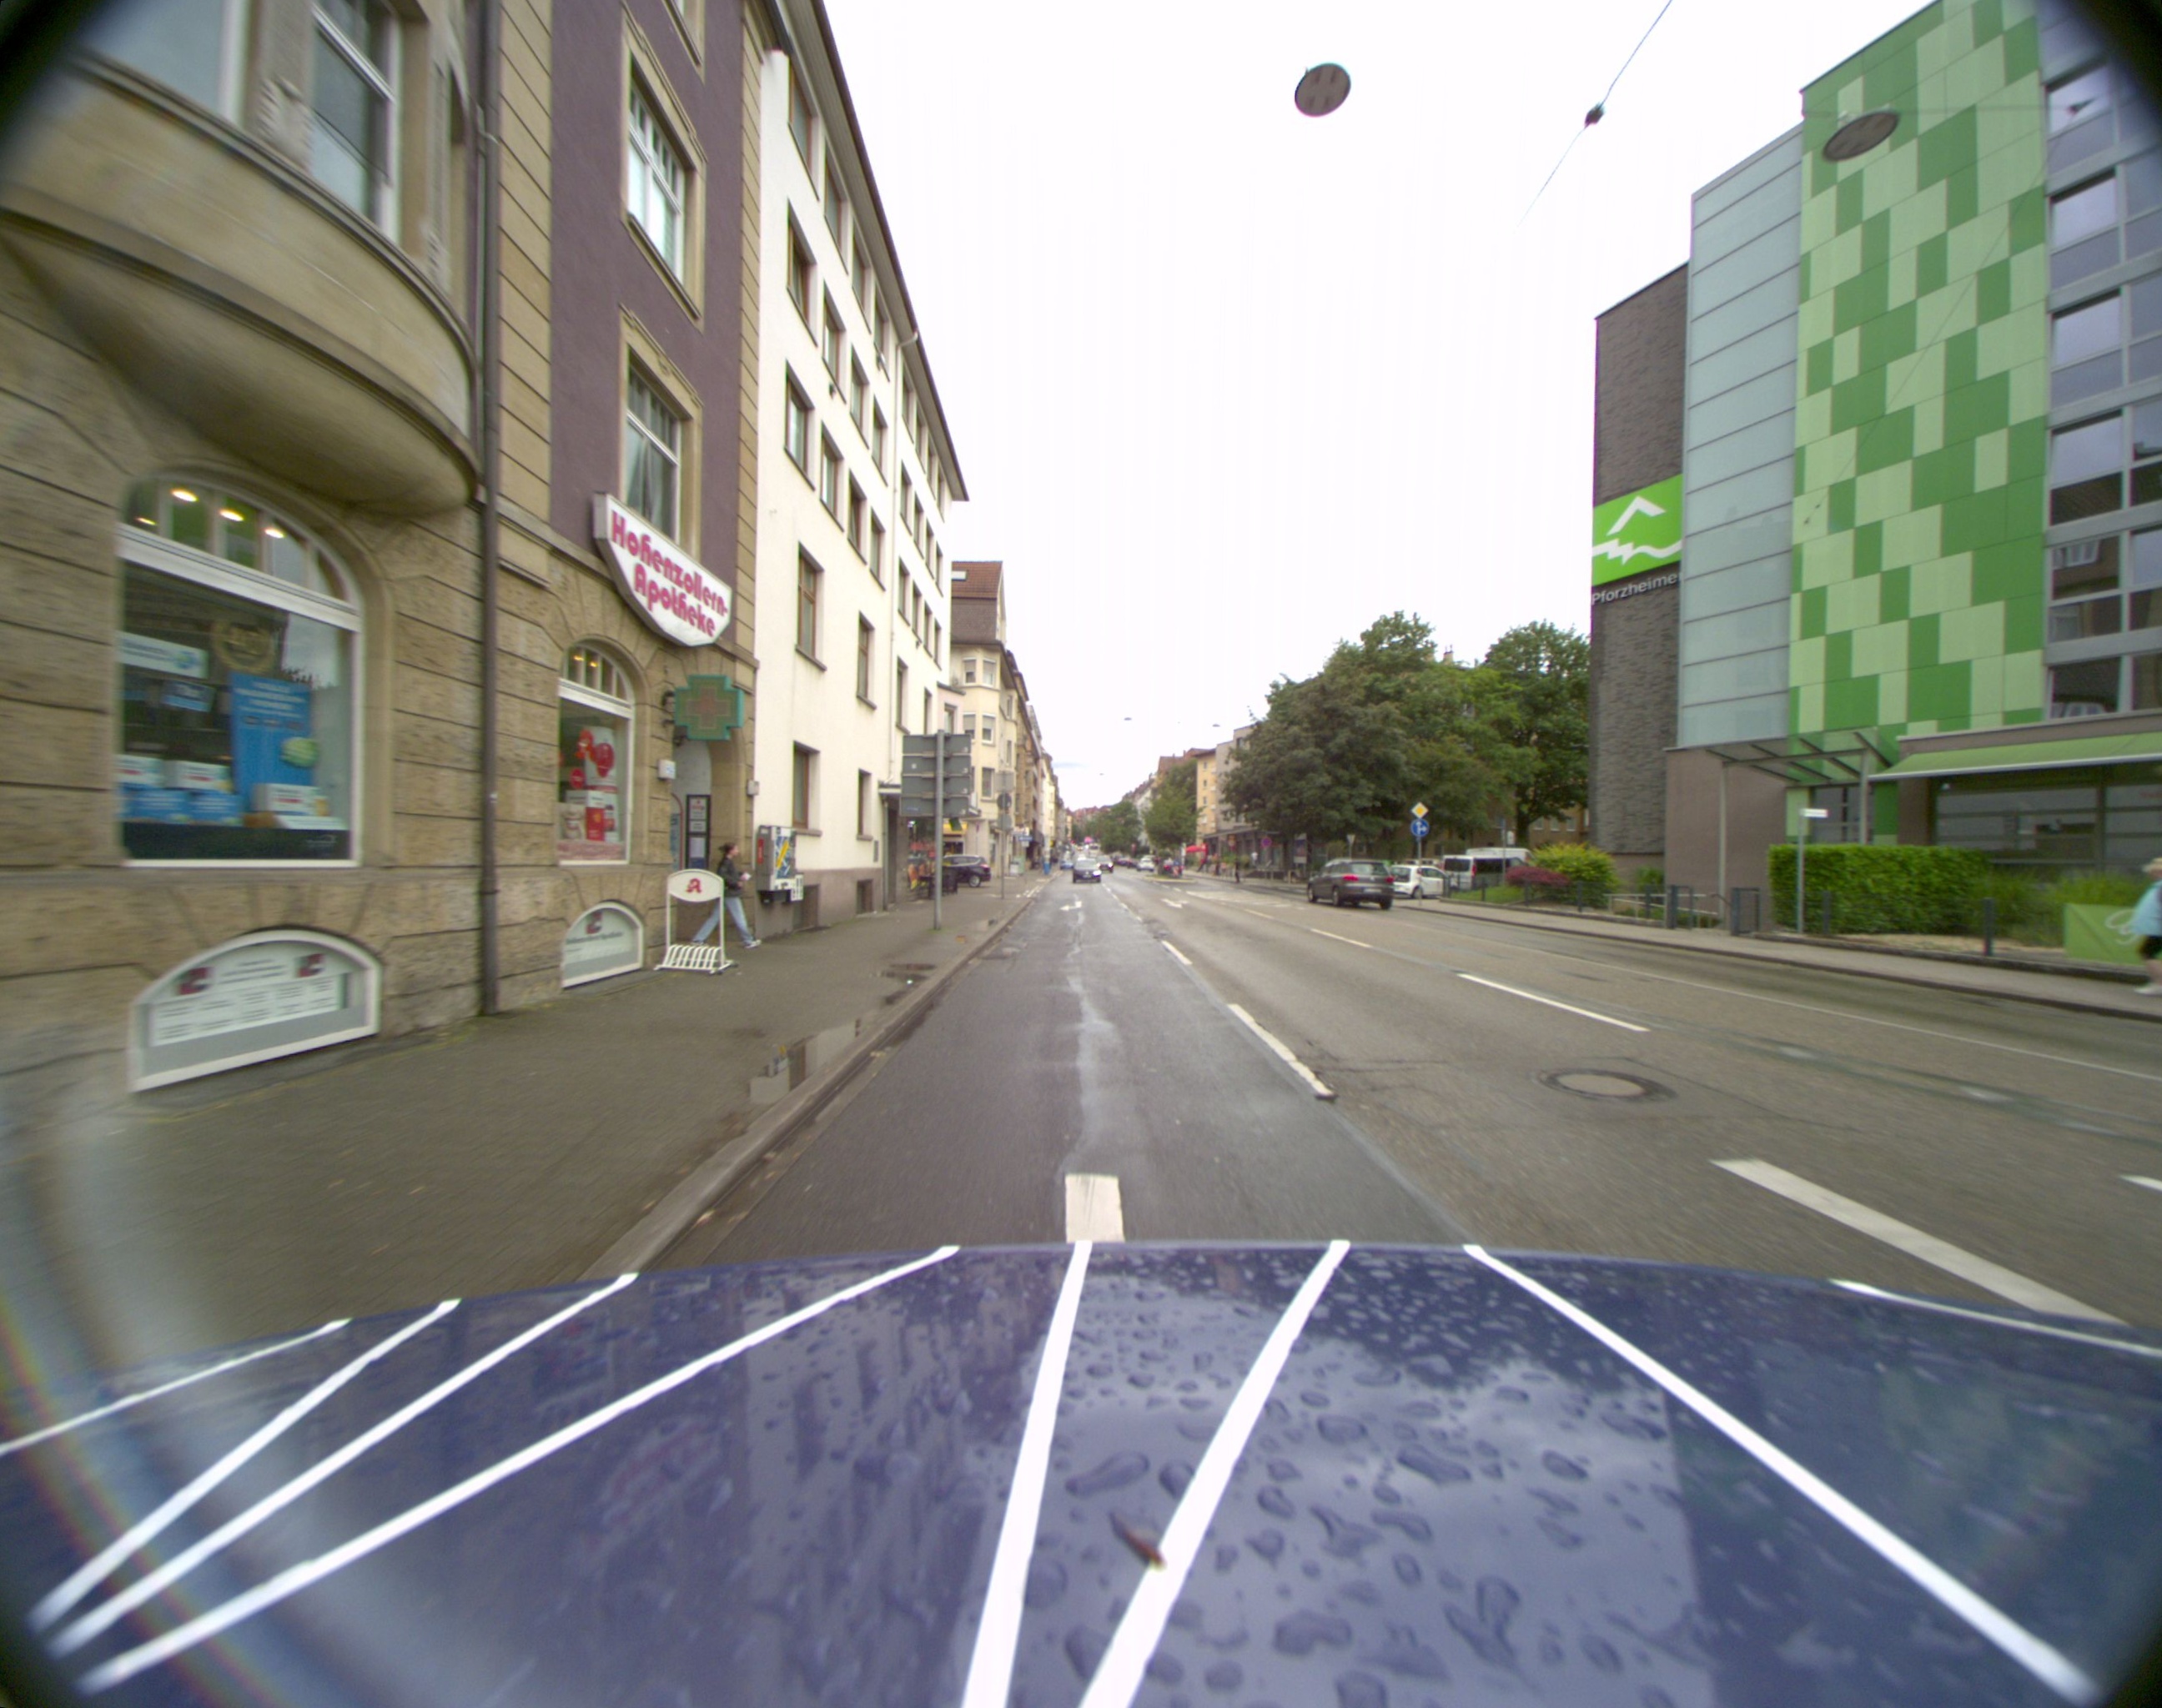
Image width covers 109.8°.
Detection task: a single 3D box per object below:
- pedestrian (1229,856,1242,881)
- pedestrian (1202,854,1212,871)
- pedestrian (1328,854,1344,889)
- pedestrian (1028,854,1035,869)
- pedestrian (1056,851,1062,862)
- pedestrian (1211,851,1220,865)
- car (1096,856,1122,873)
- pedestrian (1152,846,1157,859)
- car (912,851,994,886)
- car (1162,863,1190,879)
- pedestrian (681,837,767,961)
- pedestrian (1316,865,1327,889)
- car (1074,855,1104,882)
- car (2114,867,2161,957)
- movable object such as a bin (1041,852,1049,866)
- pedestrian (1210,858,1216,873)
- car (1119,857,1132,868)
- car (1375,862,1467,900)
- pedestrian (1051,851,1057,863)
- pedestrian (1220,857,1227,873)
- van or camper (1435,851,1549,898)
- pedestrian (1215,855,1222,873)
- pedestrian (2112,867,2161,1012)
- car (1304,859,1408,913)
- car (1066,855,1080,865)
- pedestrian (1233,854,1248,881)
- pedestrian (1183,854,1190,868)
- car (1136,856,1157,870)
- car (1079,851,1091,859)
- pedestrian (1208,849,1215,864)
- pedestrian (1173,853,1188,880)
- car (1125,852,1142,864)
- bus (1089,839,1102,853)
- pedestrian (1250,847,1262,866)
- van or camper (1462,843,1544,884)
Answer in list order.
[{"bbox_3d":[11.071,1.052,54.432,0.658,1.749,0.719,0,1,-23],"label":"pedestrian"},{"bbox_3d":[13.322,0.874,80.349,0.724,1.815,0.721,-1,0,-19],"label":"pedestrian"},{"bbox_3d":[12.708,0.866,37.875,0.576,1.752,0.581,0,1,-7],"label":"pedestrian"},{"bbox_3d":[-5.180,0.814,79.214,0.563,1.563,0.626,0,1,-17],"label":"pedestrian"},{"bbox_3d":[-3.703,0.420,127.189,0.854,1.738,1.063,2,1,-7],"label":"pedestrian"},{"bbox_3d":[15.105,0.447,85.218,0.711,1.669,0.801,0,1,27],"label":"pedestrian"},{"bbox_3d":[2.861,1.025,76.130,1.854,1.646,4.209,0,0,12],"label":"car"},{"bbox_3d":[11.112,-0.239,114.545,0.703,2.002,0.782,0,1,-4],"label":"pedestrian"},{"bbox_3d":[-6.750,0.744,40.027,4.152,1.761,1.871,0,0,-10],"label":"car"},{"bbox_3d":[9.072,1.579,72.792,2.019,1.417,4.499,-1,0,0],"label":"car"},{"bbox_3d":[-5.169,0.641,11.014,0.903,1.710,0.672,3,-1,-42],"label":"pedestrian"},{"bbox_3d":[11.971,1.155,37.813,0.410,1.191,0.311,0,1,-7],"label":"pedestrian"},{"bbox_3d":[0.544,0.862,47.538,1.734,1.538,3.981,2,1,1],"label":"car"},{"bbox_3d":[18.006,0.940,10.290,1.997,1.430,4.655,0,0,7],"label":"car"},{"bbox_3d":[-4.789,0.630,100.183,1.002,1.783,1.295,1,1,-2],"label":"movable object such as a bin"},{"bbox_3d":[12.217,1.088,70.342,0.434,1.402,0.481,0,1,-4],"label":"pedestrian"},{"bbox_3d":[7.496,1.379,127.019,1.959,1.504,4.911,-1,4,6],"label":"car"},{"bbox_3d":[14.941,1.154,33.374,3.594,1.560,1.737,0,0,-25],"label":"car"},{"bbox_3d":[-3.609,0.383,101.972,0.627,1.642,0.748,4,0,-1],"label":"pedestrian"},{"bbox_3d":[13.185,0.981,70.356,0.461,1.465,0.530,0,1,-4],"label":"pedestrian"},{"bbox_3d":[19.473,0.958,35.970,4.973,2.001,1.997,-1,-2,-22],"label":"van or camper"},{"bbox_3d":[12.702,0.961,70.334,0.499,1.663,0.552,0,1,-4],"label":"pedestrian"},{"bbox_3d":[12.938,0.999,8.984,0.752,1.675,0.749,1,1,45],"label":"pedestrian"},{"bbox_3d":[9.251,1.020,25.931,1.953,1.649,4.056,0,0,-2],"label":"car"},{"bbox_3d":[-1.020,0.778,100.519,1.739,1.302,3.767,-2,0,2],"label":"car"},{"bbox_3d":[11.234,0.942,53.511,0.863,1.834,0.693,0,1,-15],"label":"pedestrian"},{"bbox_3d":[13.232,0.887,95.028,0.591,1.809,0.870,0,1,-9],"label":"pedestrian"},{"bbox_3d":[7.697,1.032,89.783,1.824,1.560,4.088,4,0,-2],"label":"car"},{"bbox_3d":[0.778,0.219,148.998,1.960,1.548,4.242,2,0,-2],"label":"car"},{"bbox_3d":[14.847,0.310,86.424,0.715,1.669,0.713,0,1,-1],"label":"pedestrian"},{"bbox_3d":[6.777,0.875,51.760,0.724,1.815,0.853,-1,0,-23],"label":"pedestrian"},{"bbox_3d":[7.599,0.575,111.108,1.960,1.548,4.242,2,0,-2],"label":"car"},{"bbox_3d":[3.843,-2.159,203.011,2.813,3.228,11.957,4,1,-2],"label":"bus"},{"bbox_3d":[16.677,0.212,72.384,0.724,1.815,0.720,-1,0,-28],"label":"pedestrian"},{"bbox_3d":[25.698,0.571,46.214,4.625,2.253,2.207,-2,0,-30],"label":"van or camper"}]
